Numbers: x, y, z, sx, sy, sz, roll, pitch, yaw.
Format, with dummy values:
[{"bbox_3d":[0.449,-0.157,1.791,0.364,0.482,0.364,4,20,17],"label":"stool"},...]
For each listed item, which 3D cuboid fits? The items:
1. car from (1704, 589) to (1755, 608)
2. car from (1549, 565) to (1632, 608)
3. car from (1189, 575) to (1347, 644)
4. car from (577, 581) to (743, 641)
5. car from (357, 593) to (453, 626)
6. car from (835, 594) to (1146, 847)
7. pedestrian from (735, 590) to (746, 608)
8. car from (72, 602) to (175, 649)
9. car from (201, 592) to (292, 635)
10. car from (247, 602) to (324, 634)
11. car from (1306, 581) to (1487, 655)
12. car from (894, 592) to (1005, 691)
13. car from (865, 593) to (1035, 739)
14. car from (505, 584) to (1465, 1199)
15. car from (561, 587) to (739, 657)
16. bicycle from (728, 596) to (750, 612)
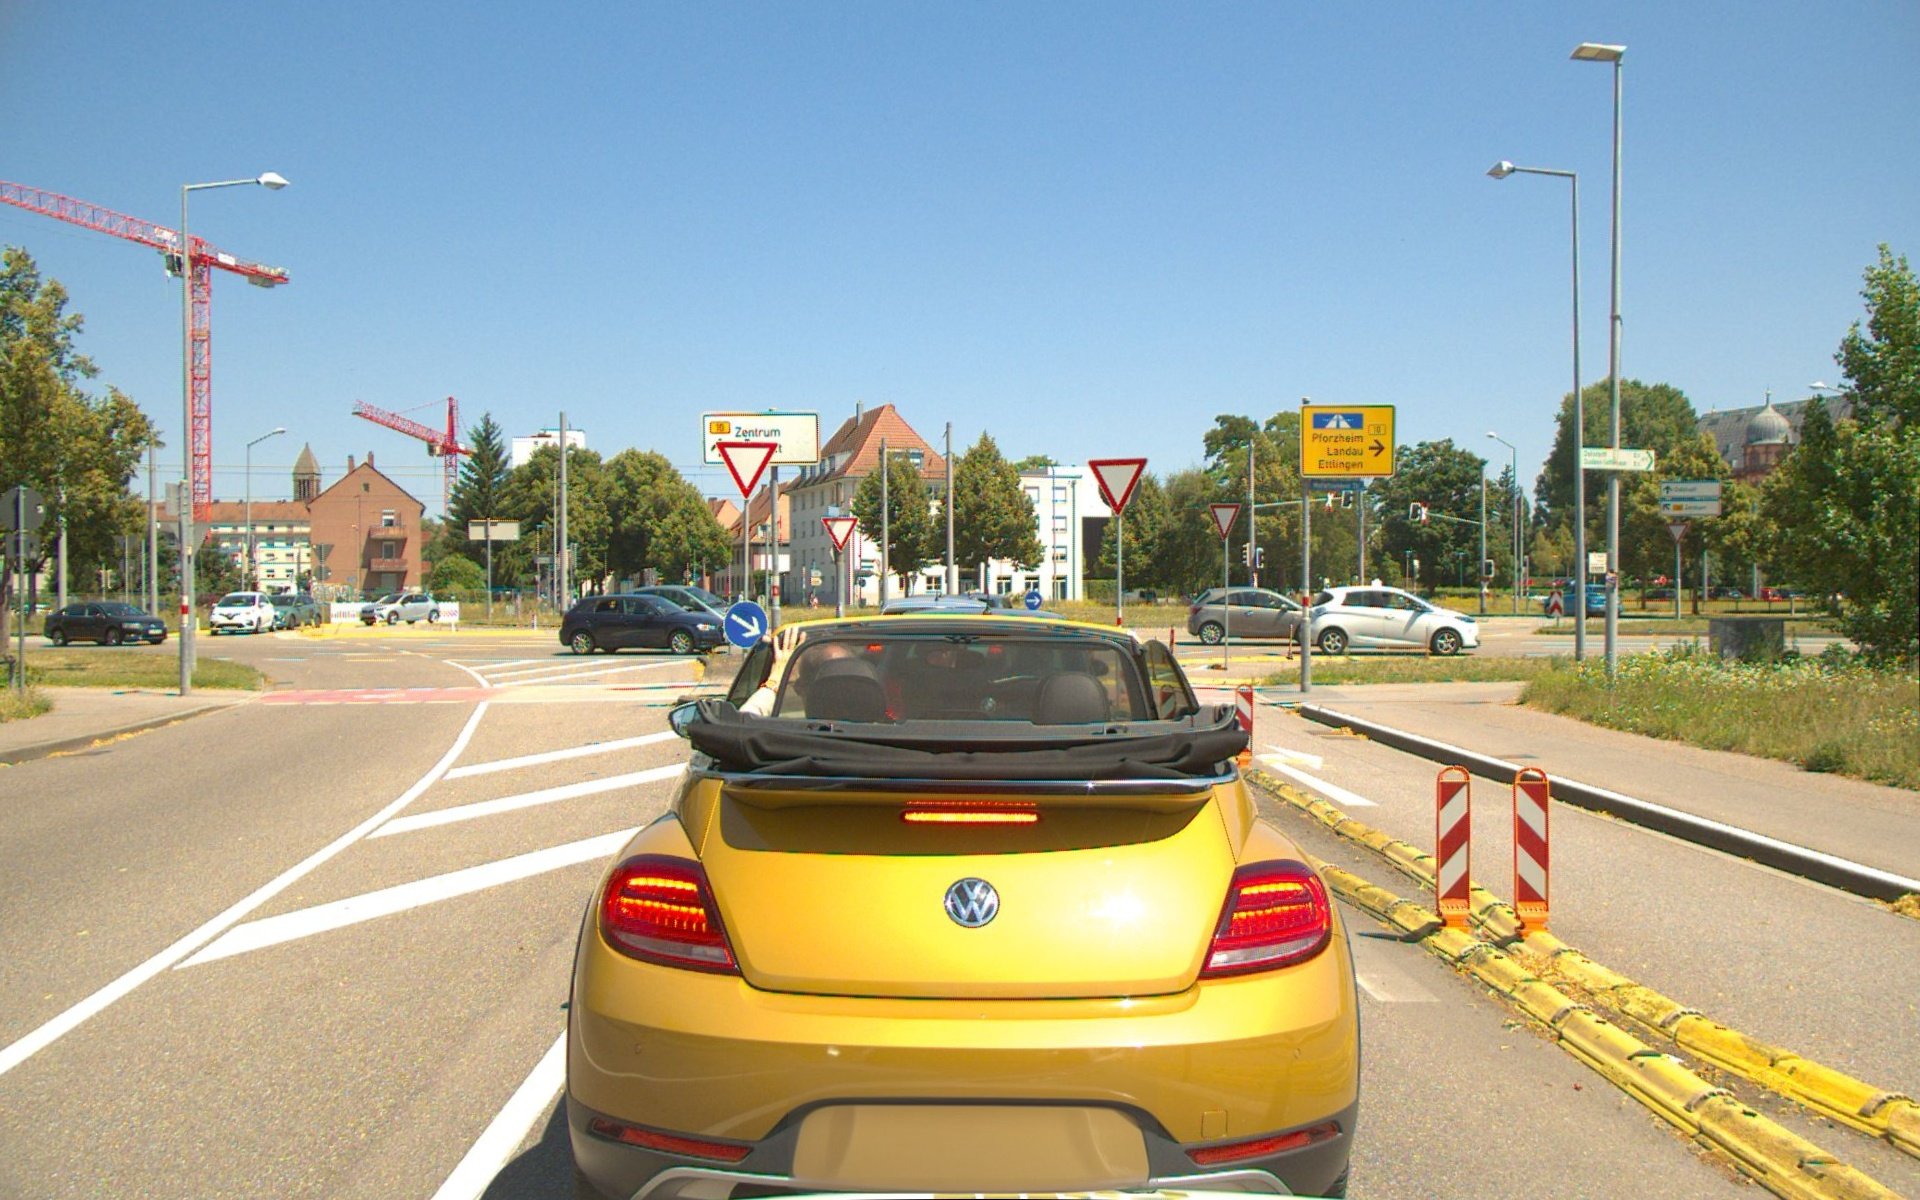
[{"bbox_3d":[71.288,-0.152,153.253,3.923,1.744,1.991,0,0,-17],"label":"car"},{"bbox_3d":[28.639,-0.597,75.268,1.955,1.870,3.994,0,0,-6],"label":"car"},{"bbox_3d":[7.976,0.258,42.995,3.902,1.522,1.649,-3,-1,10],"label":"car"},{"bbox_3d":[-7.917,0.284,43.730,3.903,1.522,1.802,0,0,17],"label":"car"},{"bbox_3d":[-26.066,0.430,77.753,1.676,1.526,4.210,0,0,32],"label":"car"},{"bbox_3d":[0.157,0.705,11.655,1.810,1.467,3.999,0,0,-1],"label":"car"},{"bbox_3d":[-15.287,-0.052,115.092,0.666,1.252,0.496,0,0,-19],"label":"pedestrian"},{"bbox_3d":[-28.087,0.826,55.472,1.810,1.472,4.458,0,0,-45],"label":"car"},{"bbox_3d":[-26.971,0.504,62.667,1.720,1.576,3.999,0,0,-1],"label":"car"},{"bbox_3d":[-27.780,0.734,68.243,1.672,1.258,3.786,0,0,-1],"label":"car"},{"bbox_3d":[10.100,0.403,38.512,3.913,1.648,1.682,0,0,9],"label":"car"},{"bbox_3d":[-0.180,0.637,27.465,1.701,1.503,3.999,0,0,-1],"label":"car"},{"bbox_3d":[-0.126,0.663,18.665,1.701,1.467,3.999,0,0,-1],"label":"car"},{"bbox_3d":[0.018,0.699,4.852,1.717,1.447,3.776,0,0,-1],"label":"car"},{"bbox_3d":[-7.559,0.515,40.487,3.914,1.648,1.738,0,0,13],"label":"car"},{"bbox_3d":[-15.350,0.268,115.068,1.444,1.090,0.496,0,0,-20],"label":"bicycle"}]
